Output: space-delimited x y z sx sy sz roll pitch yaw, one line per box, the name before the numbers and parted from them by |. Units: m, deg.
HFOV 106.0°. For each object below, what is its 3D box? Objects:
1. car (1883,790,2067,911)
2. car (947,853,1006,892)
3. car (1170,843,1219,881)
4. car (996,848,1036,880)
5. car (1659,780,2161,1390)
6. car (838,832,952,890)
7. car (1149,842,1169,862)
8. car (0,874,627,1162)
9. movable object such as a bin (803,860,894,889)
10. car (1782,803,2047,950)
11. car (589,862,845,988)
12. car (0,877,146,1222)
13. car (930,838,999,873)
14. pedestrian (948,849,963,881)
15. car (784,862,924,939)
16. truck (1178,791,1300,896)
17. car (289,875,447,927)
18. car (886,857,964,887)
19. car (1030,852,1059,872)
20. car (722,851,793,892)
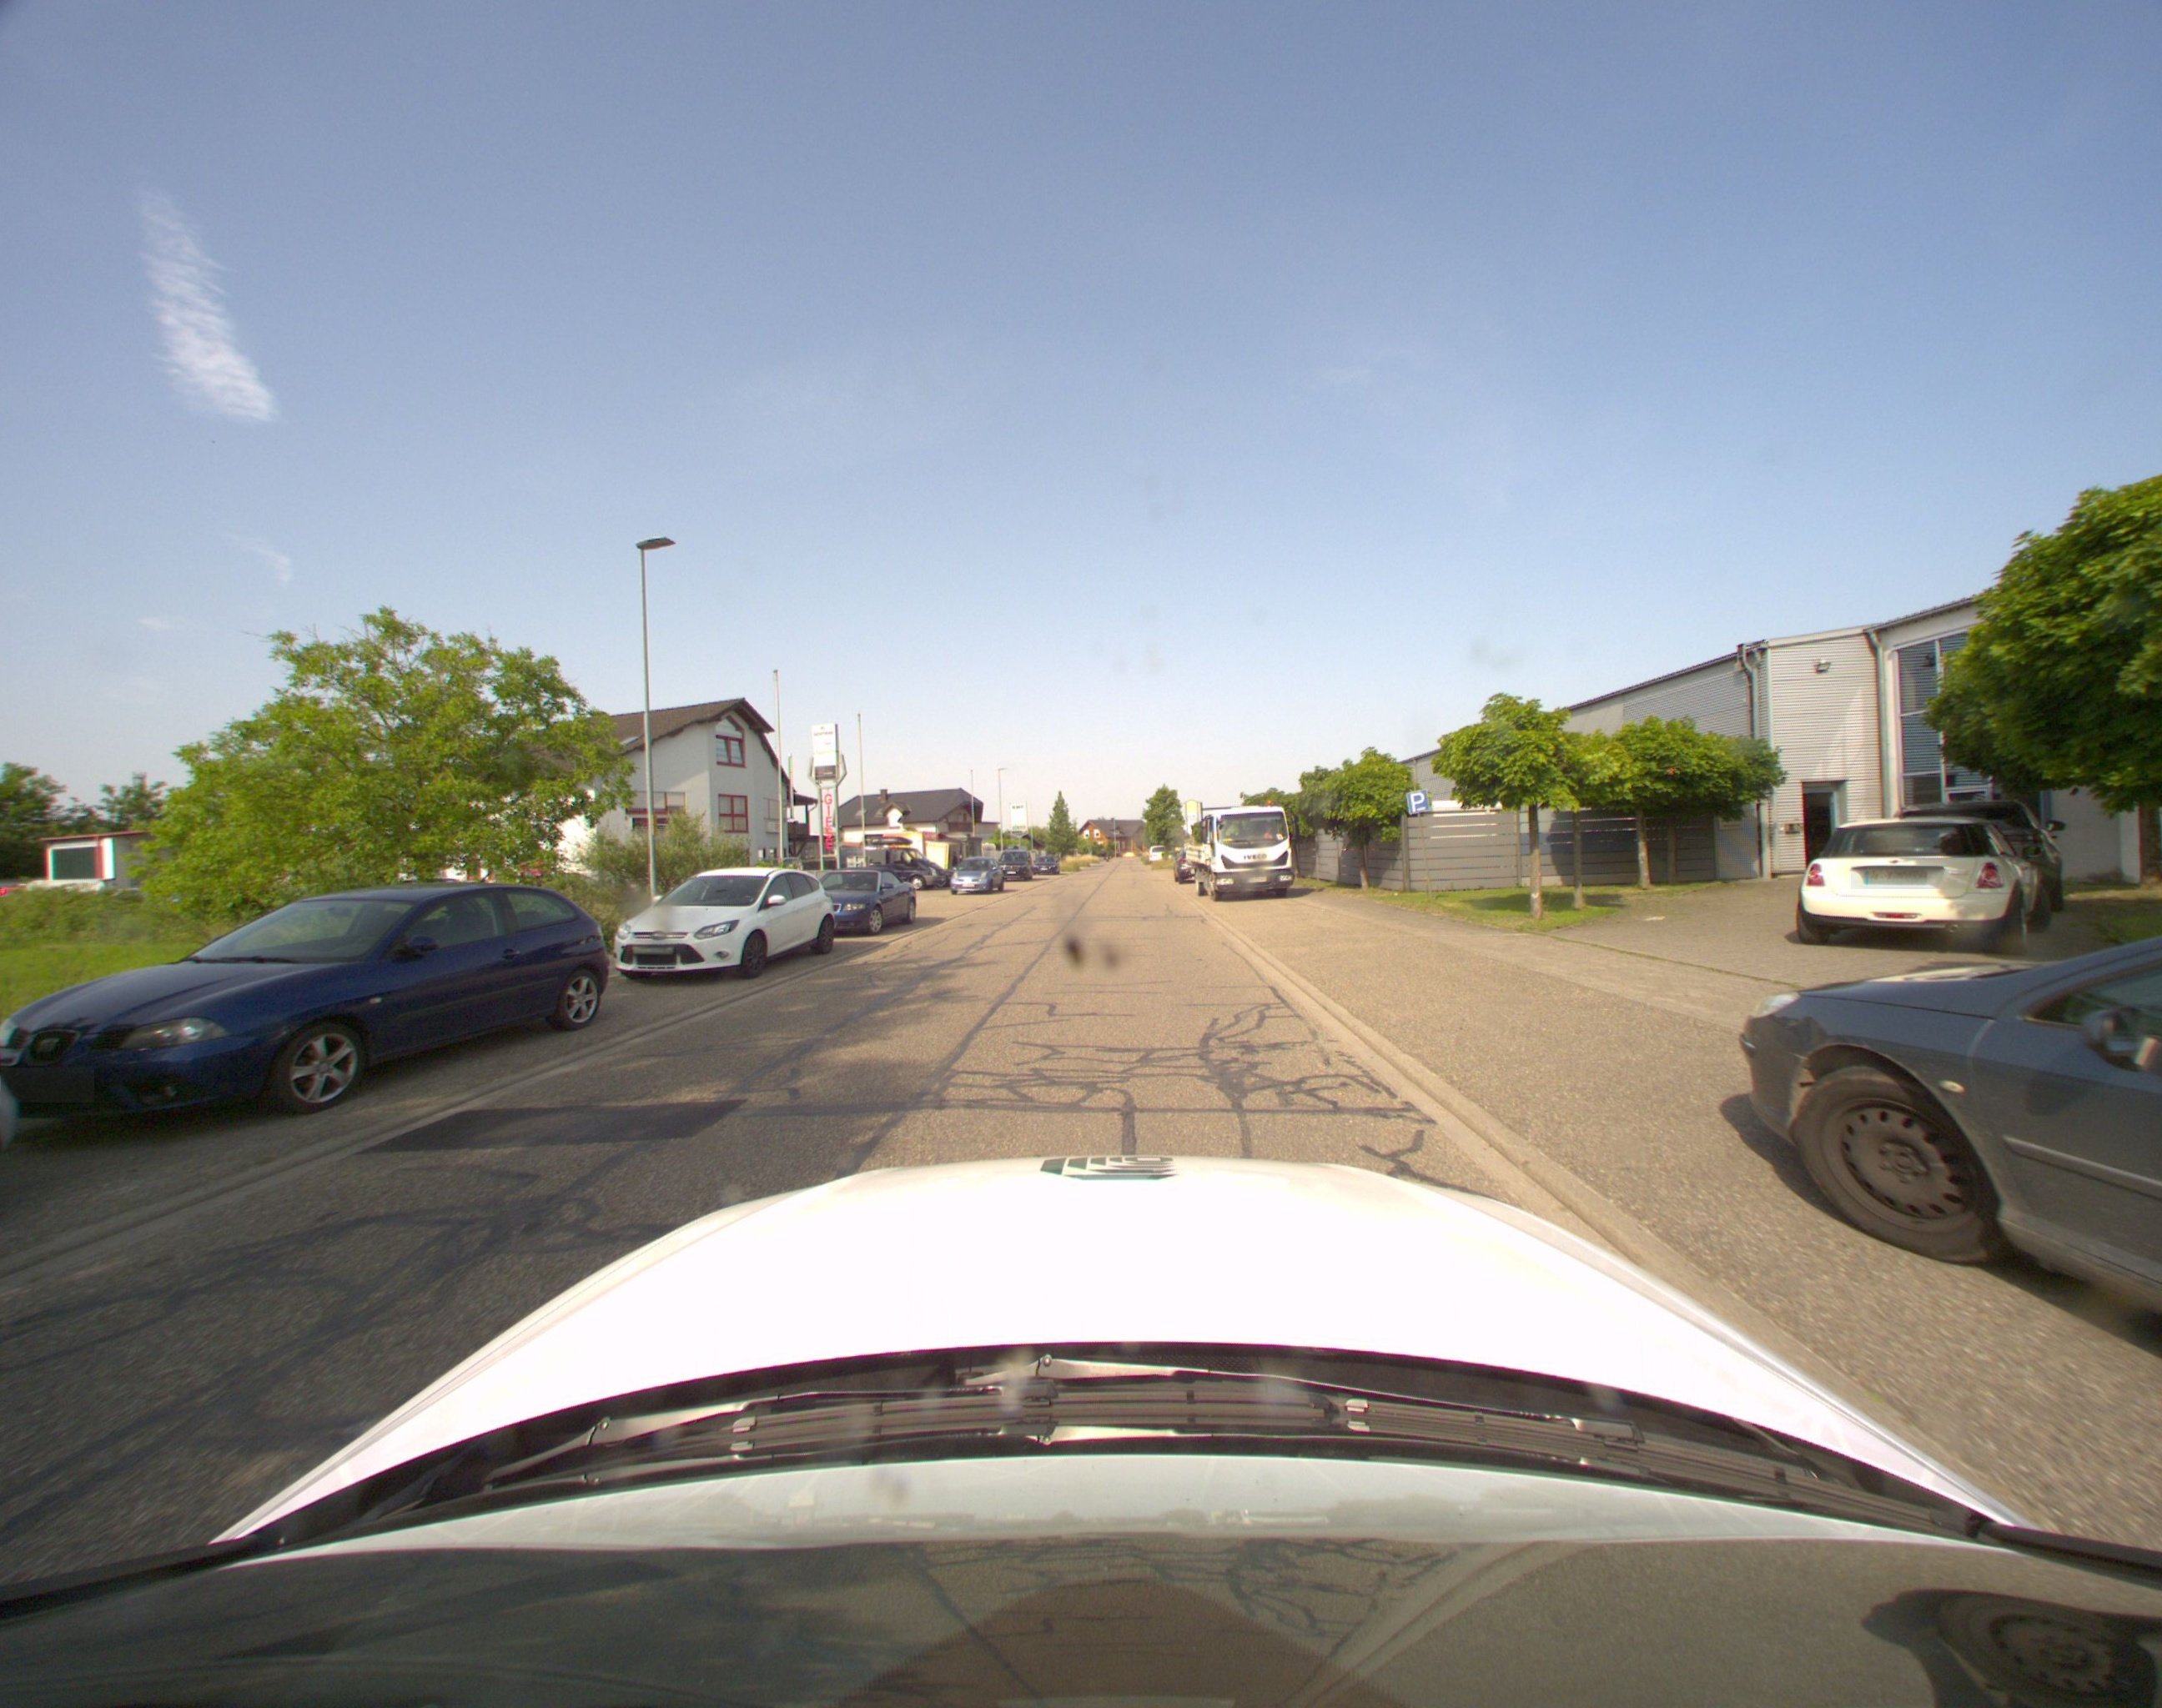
car | 14.025 -0.110 12.800 4.558 1.589 1.667 -3 0 -41
car | -4.309 0.729 34.097 1.625 1.517 3.611 -1 0 6
car | 5.068 0.327 36.834 1.787 1.560 4.003 -3 0 2
car | -3.820 0.540 48.225 1.792 1.774 4.206 -1 1 3
car | 3.528 0.537 1.585 1.787 1.517 4.427 -3 0 3
car | -8.531 0.297 37.617 4.604 2.416 2.003 -2 0 5
car | 8.315 -0.213 86.954 1.830 1.923 3.760 -3 0 4
car | -5.635 0.959 6.489 1.571 1.443 3.968 -1 0 4
movable object such as a bin | -10.054 0.860 35.354 3.301 1.146 1.768 -1 1 12
car | 9.905 0.167 9.613 3.715 1.380 1.669 -3 1 -37
car | -5.130 0.902 12.206 1.676 1.469 4.258 -1 0 3
car | -5.805 0.916 2.428 1.558 1.538 3.694 -1 0 6
car | -9.948 0.122 69.465 5.110 2.585 2.591 -3 0 24
pedestrian | -7.010 0.604 45.443 0.566 1.715 0.528 -3 0 -34
car | -4.843 0.925 18.031 1.626 1.387 4.373 -1 0 3
truck | 4.623 -0.299 25.020 2.352 2.681 6.510 -3 0 0
car | -32.731 2.116 37.623 5.307 1.915 1.822 -3 1 -40
car | -7.919 0.877 41.497 3.576 1.414 1.762 -1 0 -1
car | -2.713 0.598 60.866 1.792 1.386 3.641 -1 1 3
car | -14.838 0.770 37.543 1.538 1.661 3.479 -3 0 5
